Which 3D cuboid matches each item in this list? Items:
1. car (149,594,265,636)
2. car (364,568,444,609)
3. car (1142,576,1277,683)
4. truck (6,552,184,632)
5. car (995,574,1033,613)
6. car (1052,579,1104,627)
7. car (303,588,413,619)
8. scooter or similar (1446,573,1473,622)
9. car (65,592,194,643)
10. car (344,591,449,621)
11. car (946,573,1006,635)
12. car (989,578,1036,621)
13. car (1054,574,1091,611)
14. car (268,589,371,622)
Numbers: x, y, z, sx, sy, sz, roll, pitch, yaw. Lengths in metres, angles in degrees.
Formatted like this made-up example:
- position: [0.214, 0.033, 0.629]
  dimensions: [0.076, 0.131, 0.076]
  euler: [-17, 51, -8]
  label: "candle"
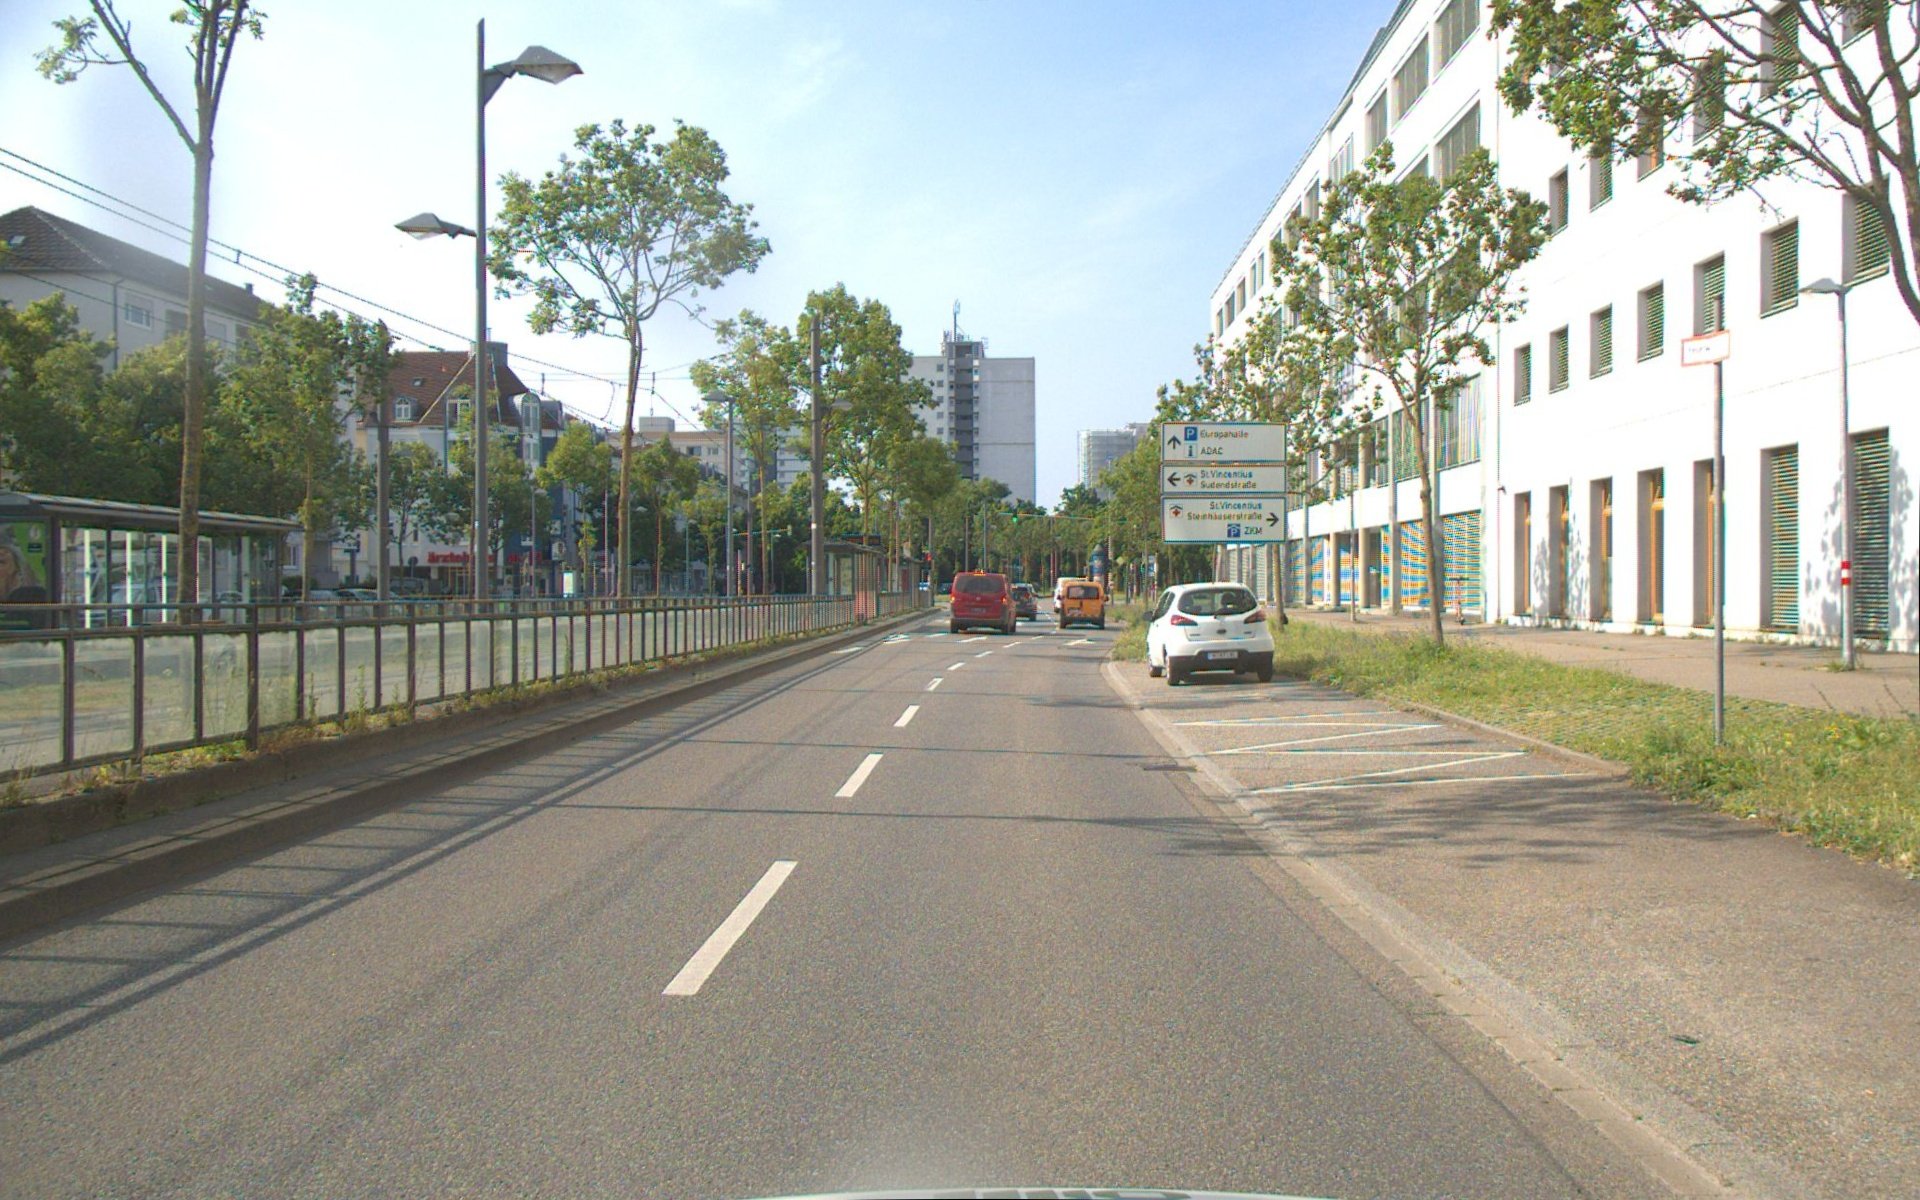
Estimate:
- position: [-26.971, 0.518, 59.413]
  dimensions: [1.940, 1.403, 4.684]
  euler: [1, 0, 1]
  label: "car"
- position: [-29.508, -0.591, 87.993]
  dimensions: [2.317, 2.066, 5.312]
  euler: [1, 0, 1]
  label: "car"
- position: [3.964, 0.434, 26.796]
  dimensions: [1.654, 1.552, 3.851]
  euler: [-2, 0, 2]
  label: "car"
- position: [-30.316, -0.276, 58.337]
  dimensions: [2.317, 2.607, 7.242]
  euler: [1, 0, 1]
  label: "truck"
- position: [2.927, -0.346, 89.591]
  dimensions: [1.952, 2.049, 4.000]
  euler: [-1, 0, 1]
  label: "car"
- position: [4.383, 0.099, 61.893]
  dimensions: [1.836, 1.726, 3.975]
  euler: [0, 0, 2]
  label: "car"
- position: [-24.965, 0.135, 68.648]
  dimensions: [3.903, 1.266, 1.940]
  euler: [0, 0, 17]
  label: "car"
- position: [12.907, -0.071, 42.749]
  dimensions: [0.452, 1.234, 1.255]
  euler: [-2, 0, 8]
  label: "scooter or similar"
- position: [-27.049, 0.537, 54.020]
  dimensions: [1.940, 1.540, 4.281]
  euler: [1, 0, 1]
  label: "car"
- position: [-24.241, 0.230, 71.199]
  dimensions: [3.903, 1.266, 1.940]
  euler: [0, 0, 17]
  label: "car"
- position: [0.529, 0.099, 52.690]
  dimensions: [1.836, 1.886, 4.000]
  euler: [0, 0, 1]
  label: "car"
- position: [2.262, -0.035, 71.413]
  dimensions: [1.952, 1.735, 4.001]
  euler: [-1, 0, 2]
  label: "car"
- position: [6.367, -0.434, 93.847]
  dimensions: [1.952, 2.049, 4.001]
  euler: [-1, 0, 2]
  label: "car"
- position: [-25.254, 0.204, 65.209]
  dimensions: [3.915, 1.266, 1.828]
  euler: [0, 0, 33]
  label: "car"
